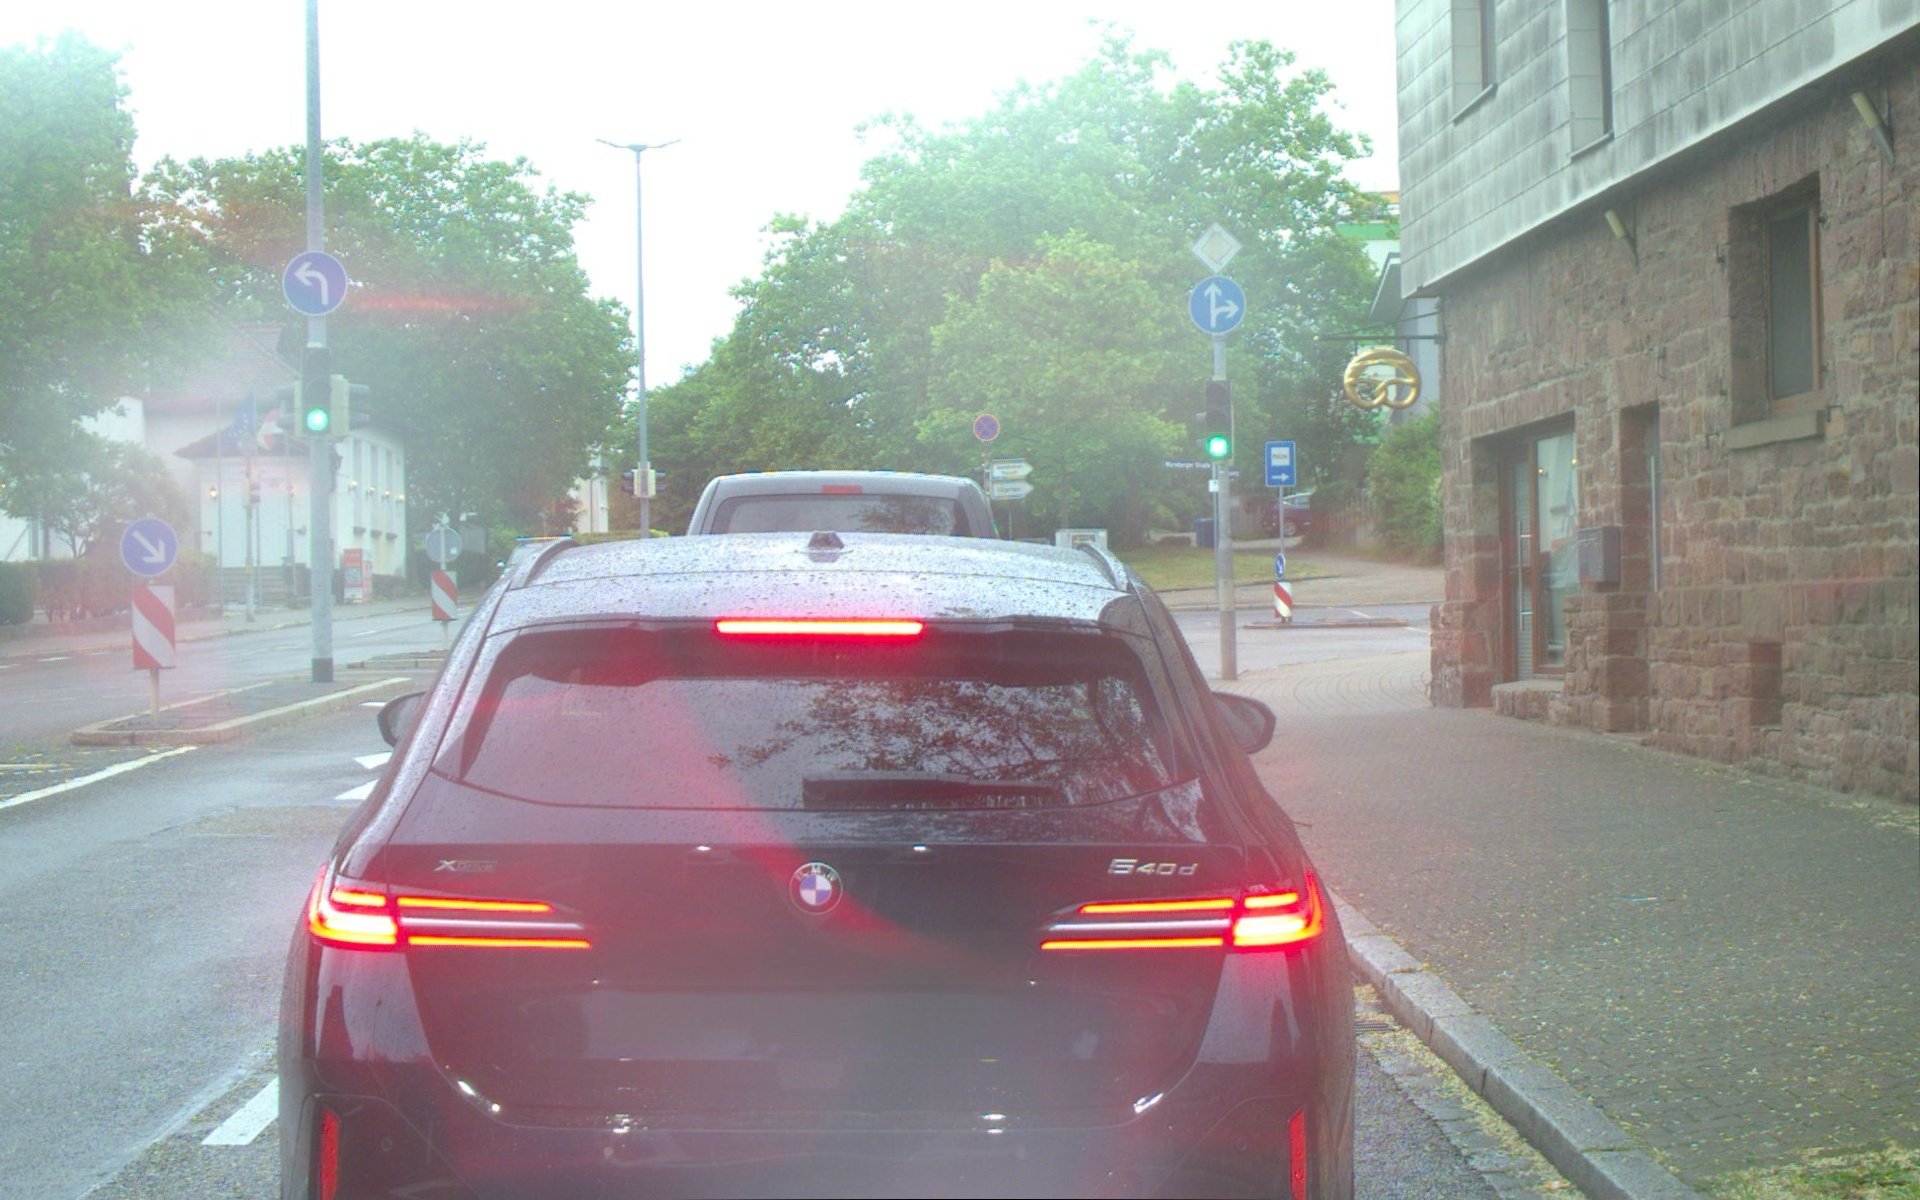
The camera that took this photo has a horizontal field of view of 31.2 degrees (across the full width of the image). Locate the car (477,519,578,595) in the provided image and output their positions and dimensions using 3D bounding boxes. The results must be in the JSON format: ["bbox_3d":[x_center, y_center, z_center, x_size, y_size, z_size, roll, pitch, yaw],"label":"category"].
[{"bbox_3d":[-9.476,-0.971,75.606,1.898,1.572,4.503,-1,2,-4],"label":"car"}]

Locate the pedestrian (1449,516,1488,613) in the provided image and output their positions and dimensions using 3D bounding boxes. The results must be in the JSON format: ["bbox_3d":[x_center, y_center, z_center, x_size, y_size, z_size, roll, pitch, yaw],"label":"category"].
[{"bbox_3d":[8.478,-0.590,57.293,0.601,1.611,0.525,1,0,6],"label":"pedestrian"}]

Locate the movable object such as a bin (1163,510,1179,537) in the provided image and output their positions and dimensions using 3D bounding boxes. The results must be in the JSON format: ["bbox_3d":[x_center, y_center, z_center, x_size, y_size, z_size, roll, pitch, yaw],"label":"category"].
[{"bbox_3d":[7.069,-2.559,115.310,0.450,0.902,0.462,1,0,15],"label":"movable object such as a bin"}]

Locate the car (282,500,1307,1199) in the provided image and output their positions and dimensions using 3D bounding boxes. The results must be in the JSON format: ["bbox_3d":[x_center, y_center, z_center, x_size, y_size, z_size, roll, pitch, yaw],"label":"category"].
[{"bbox_3d":[-0.355,0.608,6.927,1.523,1.529,3.532,1,0,-4],"label":"car"}]

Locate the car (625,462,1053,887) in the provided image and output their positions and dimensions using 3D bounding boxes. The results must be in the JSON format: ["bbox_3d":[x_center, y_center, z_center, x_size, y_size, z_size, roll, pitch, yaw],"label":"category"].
[{"bbox_3d":[-0.631,0.304,16.606,1.812,1.802,3.757,1,0,-4],"label":"car"}]
